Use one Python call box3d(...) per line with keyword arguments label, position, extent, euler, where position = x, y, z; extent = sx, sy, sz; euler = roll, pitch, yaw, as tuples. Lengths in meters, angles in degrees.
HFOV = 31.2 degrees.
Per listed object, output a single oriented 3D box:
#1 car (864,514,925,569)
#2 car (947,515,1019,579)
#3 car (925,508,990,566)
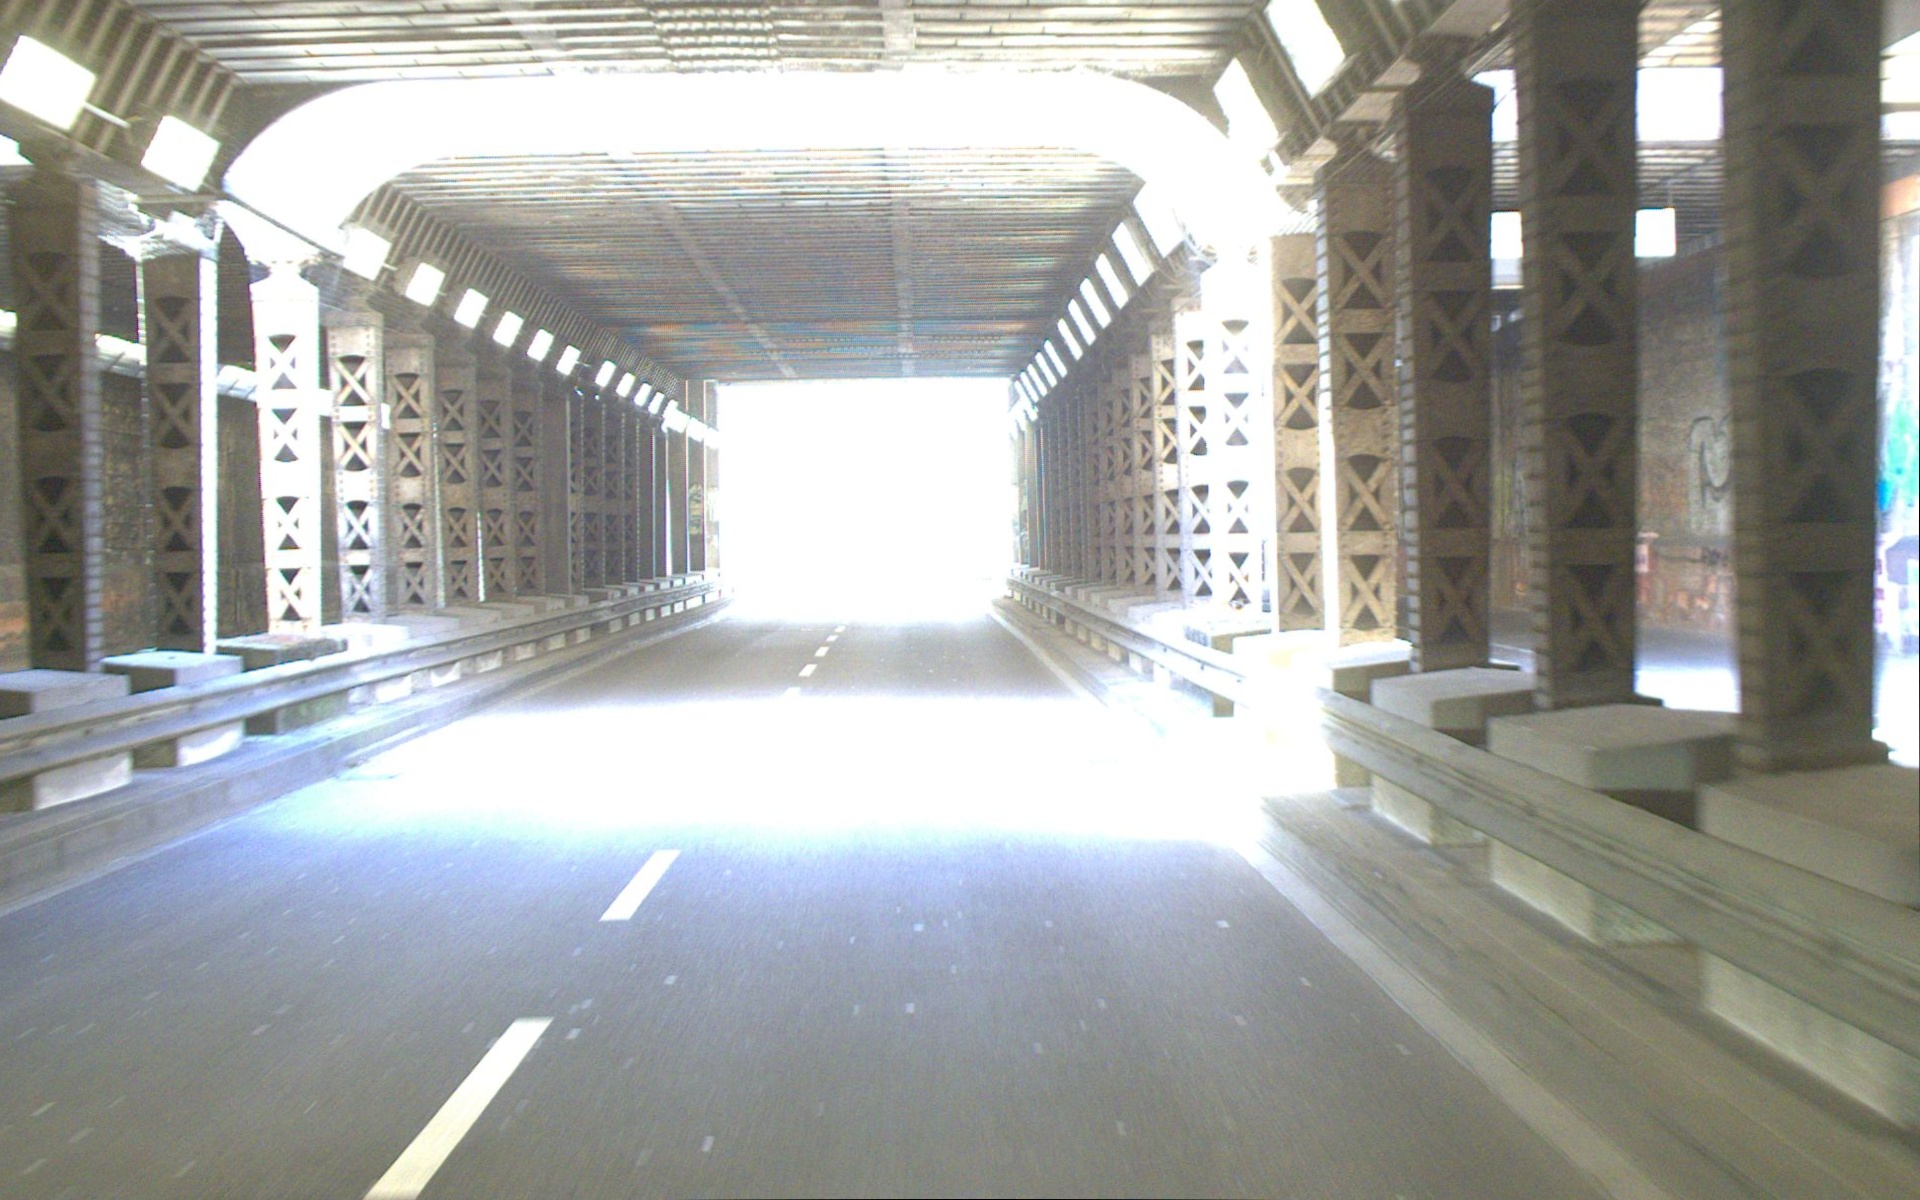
box3d(label="car", position=(-2.223, -2.008, 117.135), extent=(1.993, 1.778, 4.000), euler=(-1, 1, -1))
box3d(label="car", position=(0.650, -1.558, 100.014), extent=(1.993, 1.778, 4.000), euler=(-1, 1, -1))
box3d(label="car", position=(-0.109, -2.018, 110.102), extent=(1.993, 1.778, 4.000), euler=(-1, 1, -1))
